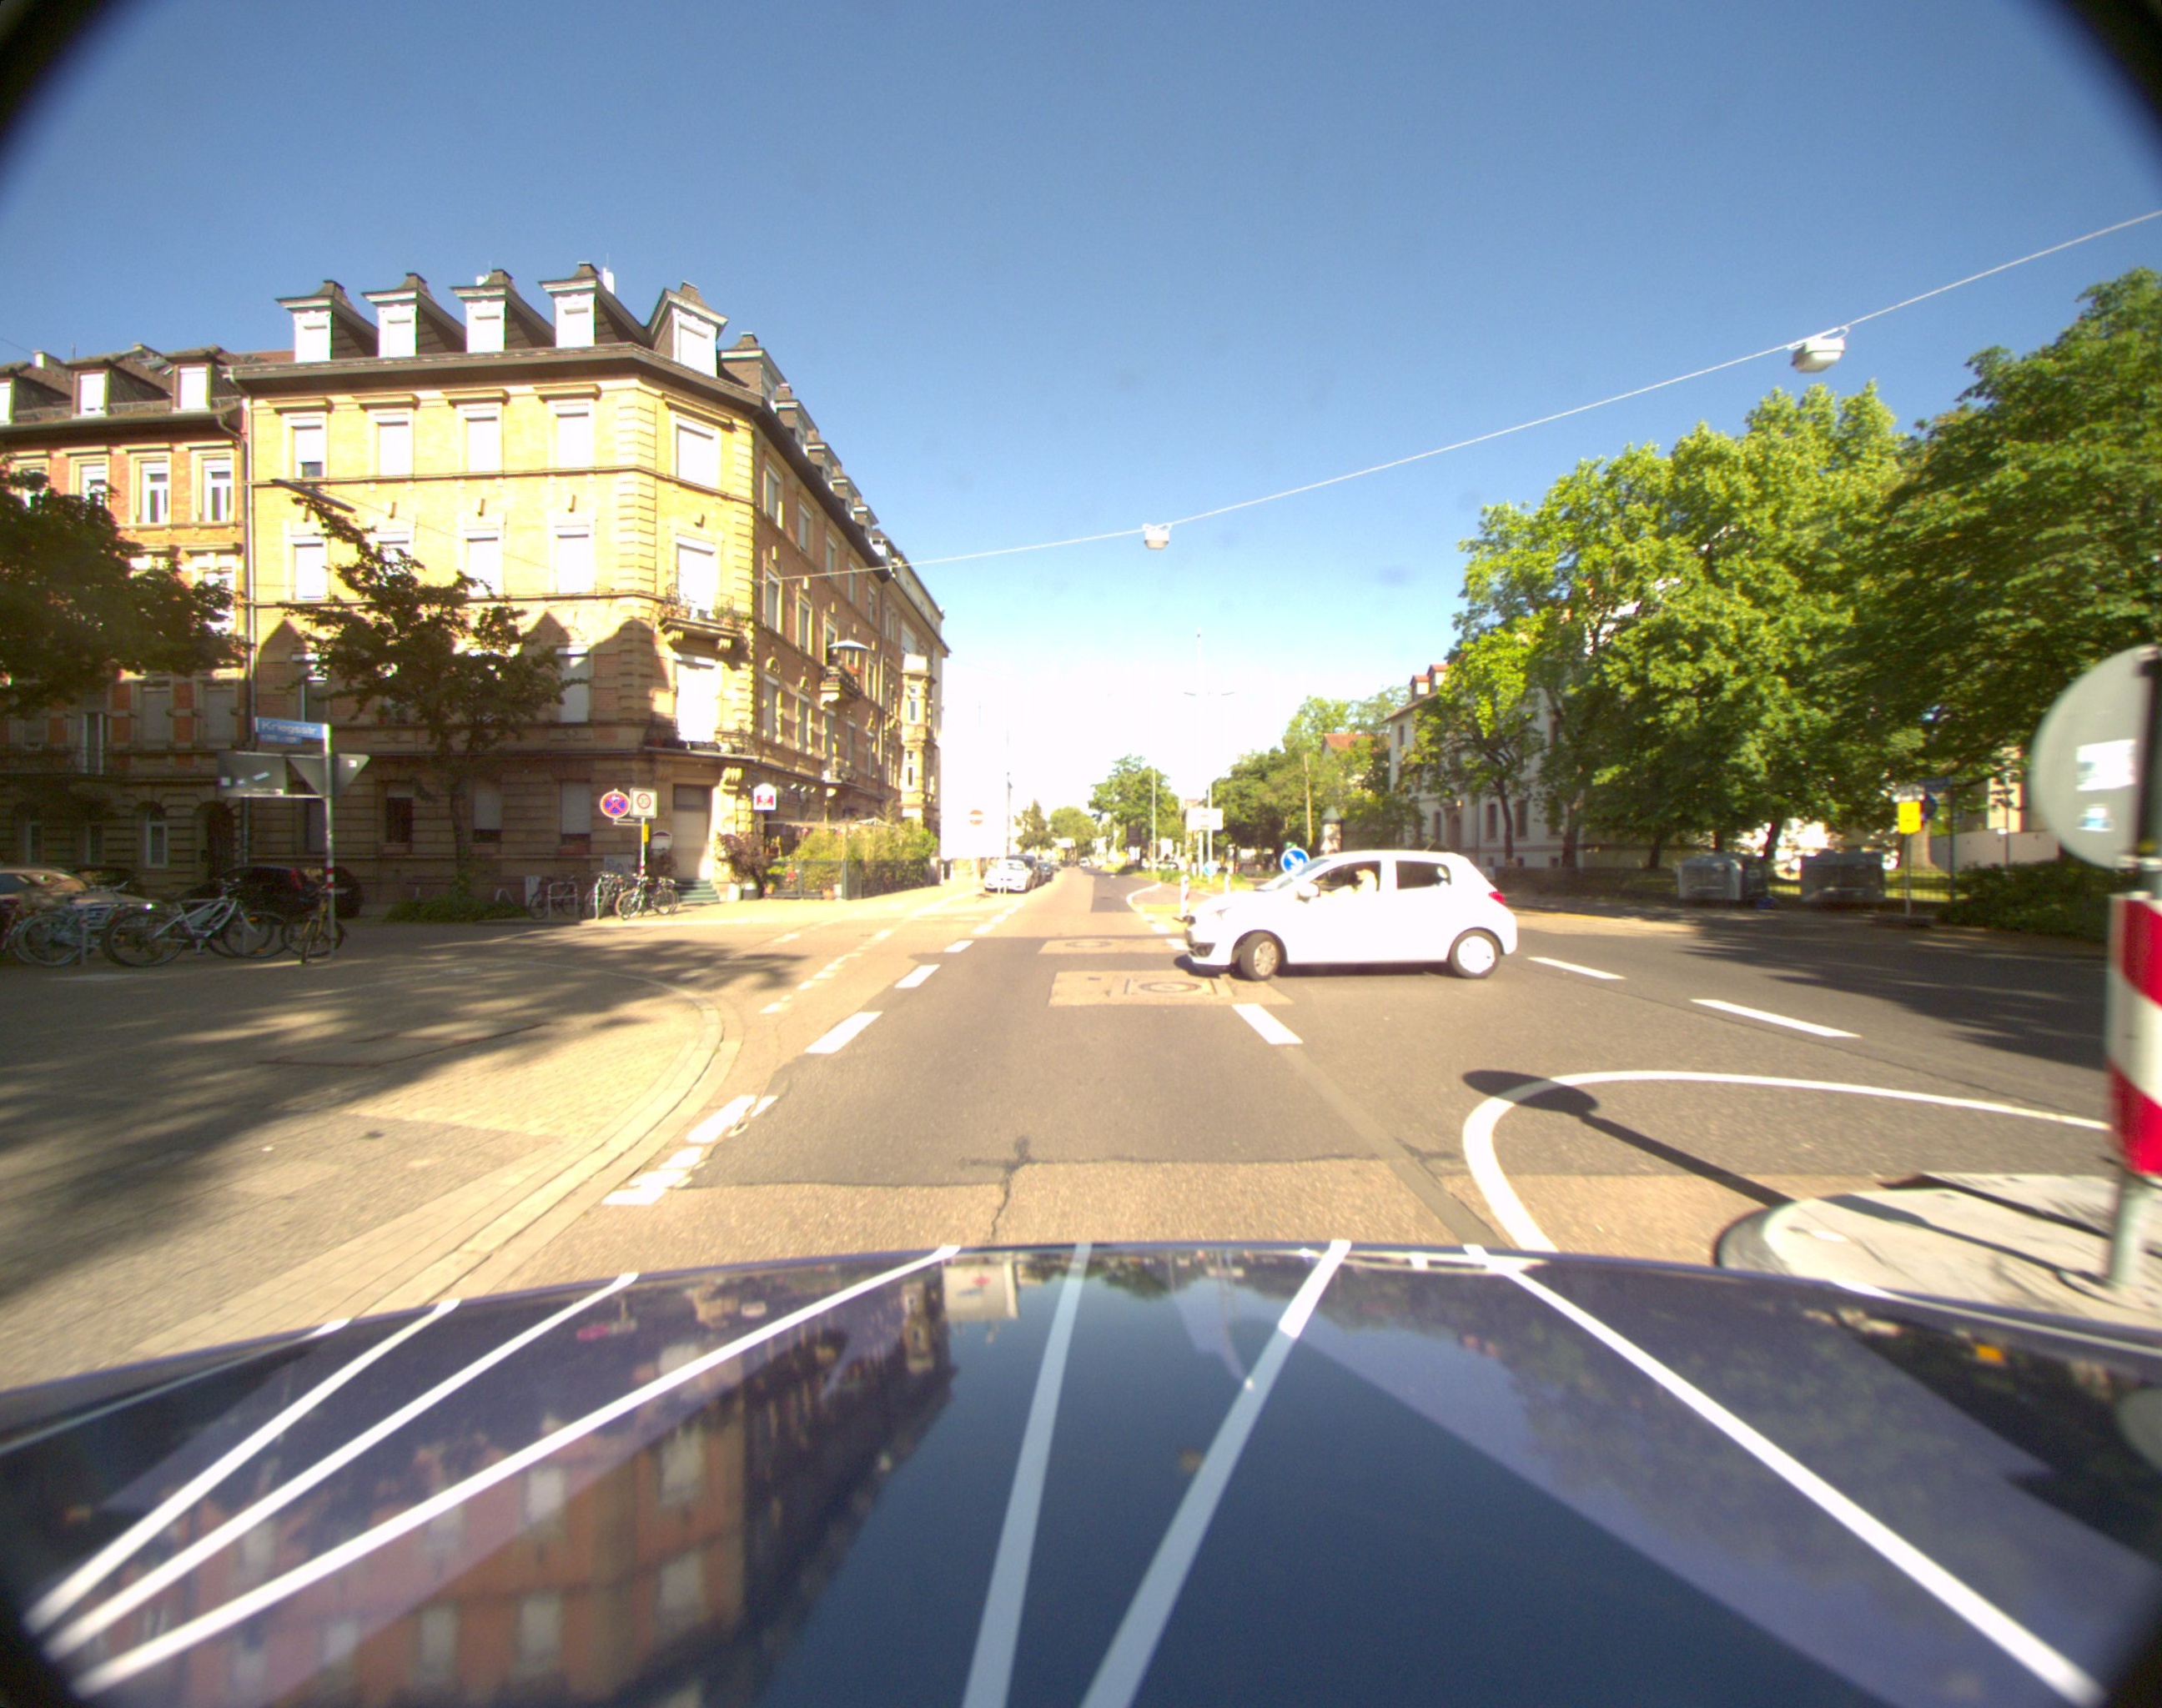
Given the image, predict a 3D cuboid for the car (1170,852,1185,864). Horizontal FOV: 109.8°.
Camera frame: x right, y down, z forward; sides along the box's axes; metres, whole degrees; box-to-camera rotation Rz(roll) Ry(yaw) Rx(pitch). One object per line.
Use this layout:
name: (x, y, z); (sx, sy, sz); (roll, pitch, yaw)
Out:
car: (12.924, 0.504, 101.886); (1.594, 1.420, 3.716); (2, 1, 1)

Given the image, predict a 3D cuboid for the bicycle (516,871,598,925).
bicycle: (-12.664, 1.032, 18.435); (0.584, 1.128, 2.018); (1, 2, 0)

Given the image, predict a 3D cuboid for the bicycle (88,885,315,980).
bicycle: (-12.030, 1.023, 10.514); (0.584, 1.127, 2.021); (0, -1, 10)

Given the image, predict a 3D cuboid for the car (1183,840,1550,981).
car: (3.247, 0.605, 9.310); (3.891, 1.449, 1.655); (1, 0, 8)

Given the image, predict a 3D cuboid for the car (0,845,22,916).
car: (-31.319, 0.683, 20.160); (3.932, 1.909, 2.048); (1, 0, 6)

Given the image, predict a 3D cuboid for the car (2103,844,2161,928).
car: (22.093, 0.646, 13.661); (1.891, 1.679, 4.705); (1, 0, 15)

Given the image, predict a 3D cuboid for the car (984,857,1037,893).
car: (-3.117, 0.915, 34.403); (1.846, 1.432, 4.106); (3, 0, 1)

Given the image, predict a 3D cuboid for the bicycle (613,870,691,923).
bicycle: (-10.410, 0.999, 18.523); (0.735, 1.128, 2.018); (0, 2, 0)

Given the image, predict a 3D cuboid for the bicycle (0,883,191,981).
bicycle: (-13.359, 0.982, 10.143); (0.634, 1.178, 2.019); (1, -2, -5)

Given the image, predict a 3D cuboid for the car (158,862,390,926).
car: (-20.255, 0.962, 19.186); (3.932, 1.409, 2.048); (1, 0, 6)

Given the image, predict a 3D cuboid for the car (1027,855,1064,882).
car: (-2.217, 0.911, 49.208); (1.893, 1.678, 4.701); (0, 0, 4)

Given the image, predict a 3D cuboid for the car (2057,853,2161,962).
car: (16.683, 0.767, 10.433); (3.775, 1.482, 1.845); (1, 0, 8)

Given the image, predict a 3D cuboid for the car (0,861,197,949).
car: (-20.042, 0.905, 14.441); (4.415, 1.409, 2.048); (1, 0, 6)

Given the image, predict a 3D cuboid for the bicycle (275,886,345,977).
bicycle: (-10.679, 1.016, 10.506); (2.013, 1.127, 0.586); (-1, -3, 43)

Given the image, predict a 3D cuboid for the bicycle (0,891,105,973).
bicycle: (-14.841, 1.078, 10.257); (0.584, 1.049, 2.020); (1, 0, 7)

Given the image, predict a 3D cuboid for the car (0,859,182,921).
car: (-26.441, 0.897, 19.773); (3.932, 1.409, 2.048); (1, 0, 6)

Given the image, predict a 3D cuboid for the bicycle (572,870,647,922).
bicycle: (-11.476, 0.999, 18.587); (0.584, 1.128, 2.018); (1, 1, -1)

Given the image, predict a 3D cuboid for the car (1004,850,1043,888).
car: (-2.953, 0.761, 39.845); (1.693, 1.862, 3.561); (1, 0, 1)
